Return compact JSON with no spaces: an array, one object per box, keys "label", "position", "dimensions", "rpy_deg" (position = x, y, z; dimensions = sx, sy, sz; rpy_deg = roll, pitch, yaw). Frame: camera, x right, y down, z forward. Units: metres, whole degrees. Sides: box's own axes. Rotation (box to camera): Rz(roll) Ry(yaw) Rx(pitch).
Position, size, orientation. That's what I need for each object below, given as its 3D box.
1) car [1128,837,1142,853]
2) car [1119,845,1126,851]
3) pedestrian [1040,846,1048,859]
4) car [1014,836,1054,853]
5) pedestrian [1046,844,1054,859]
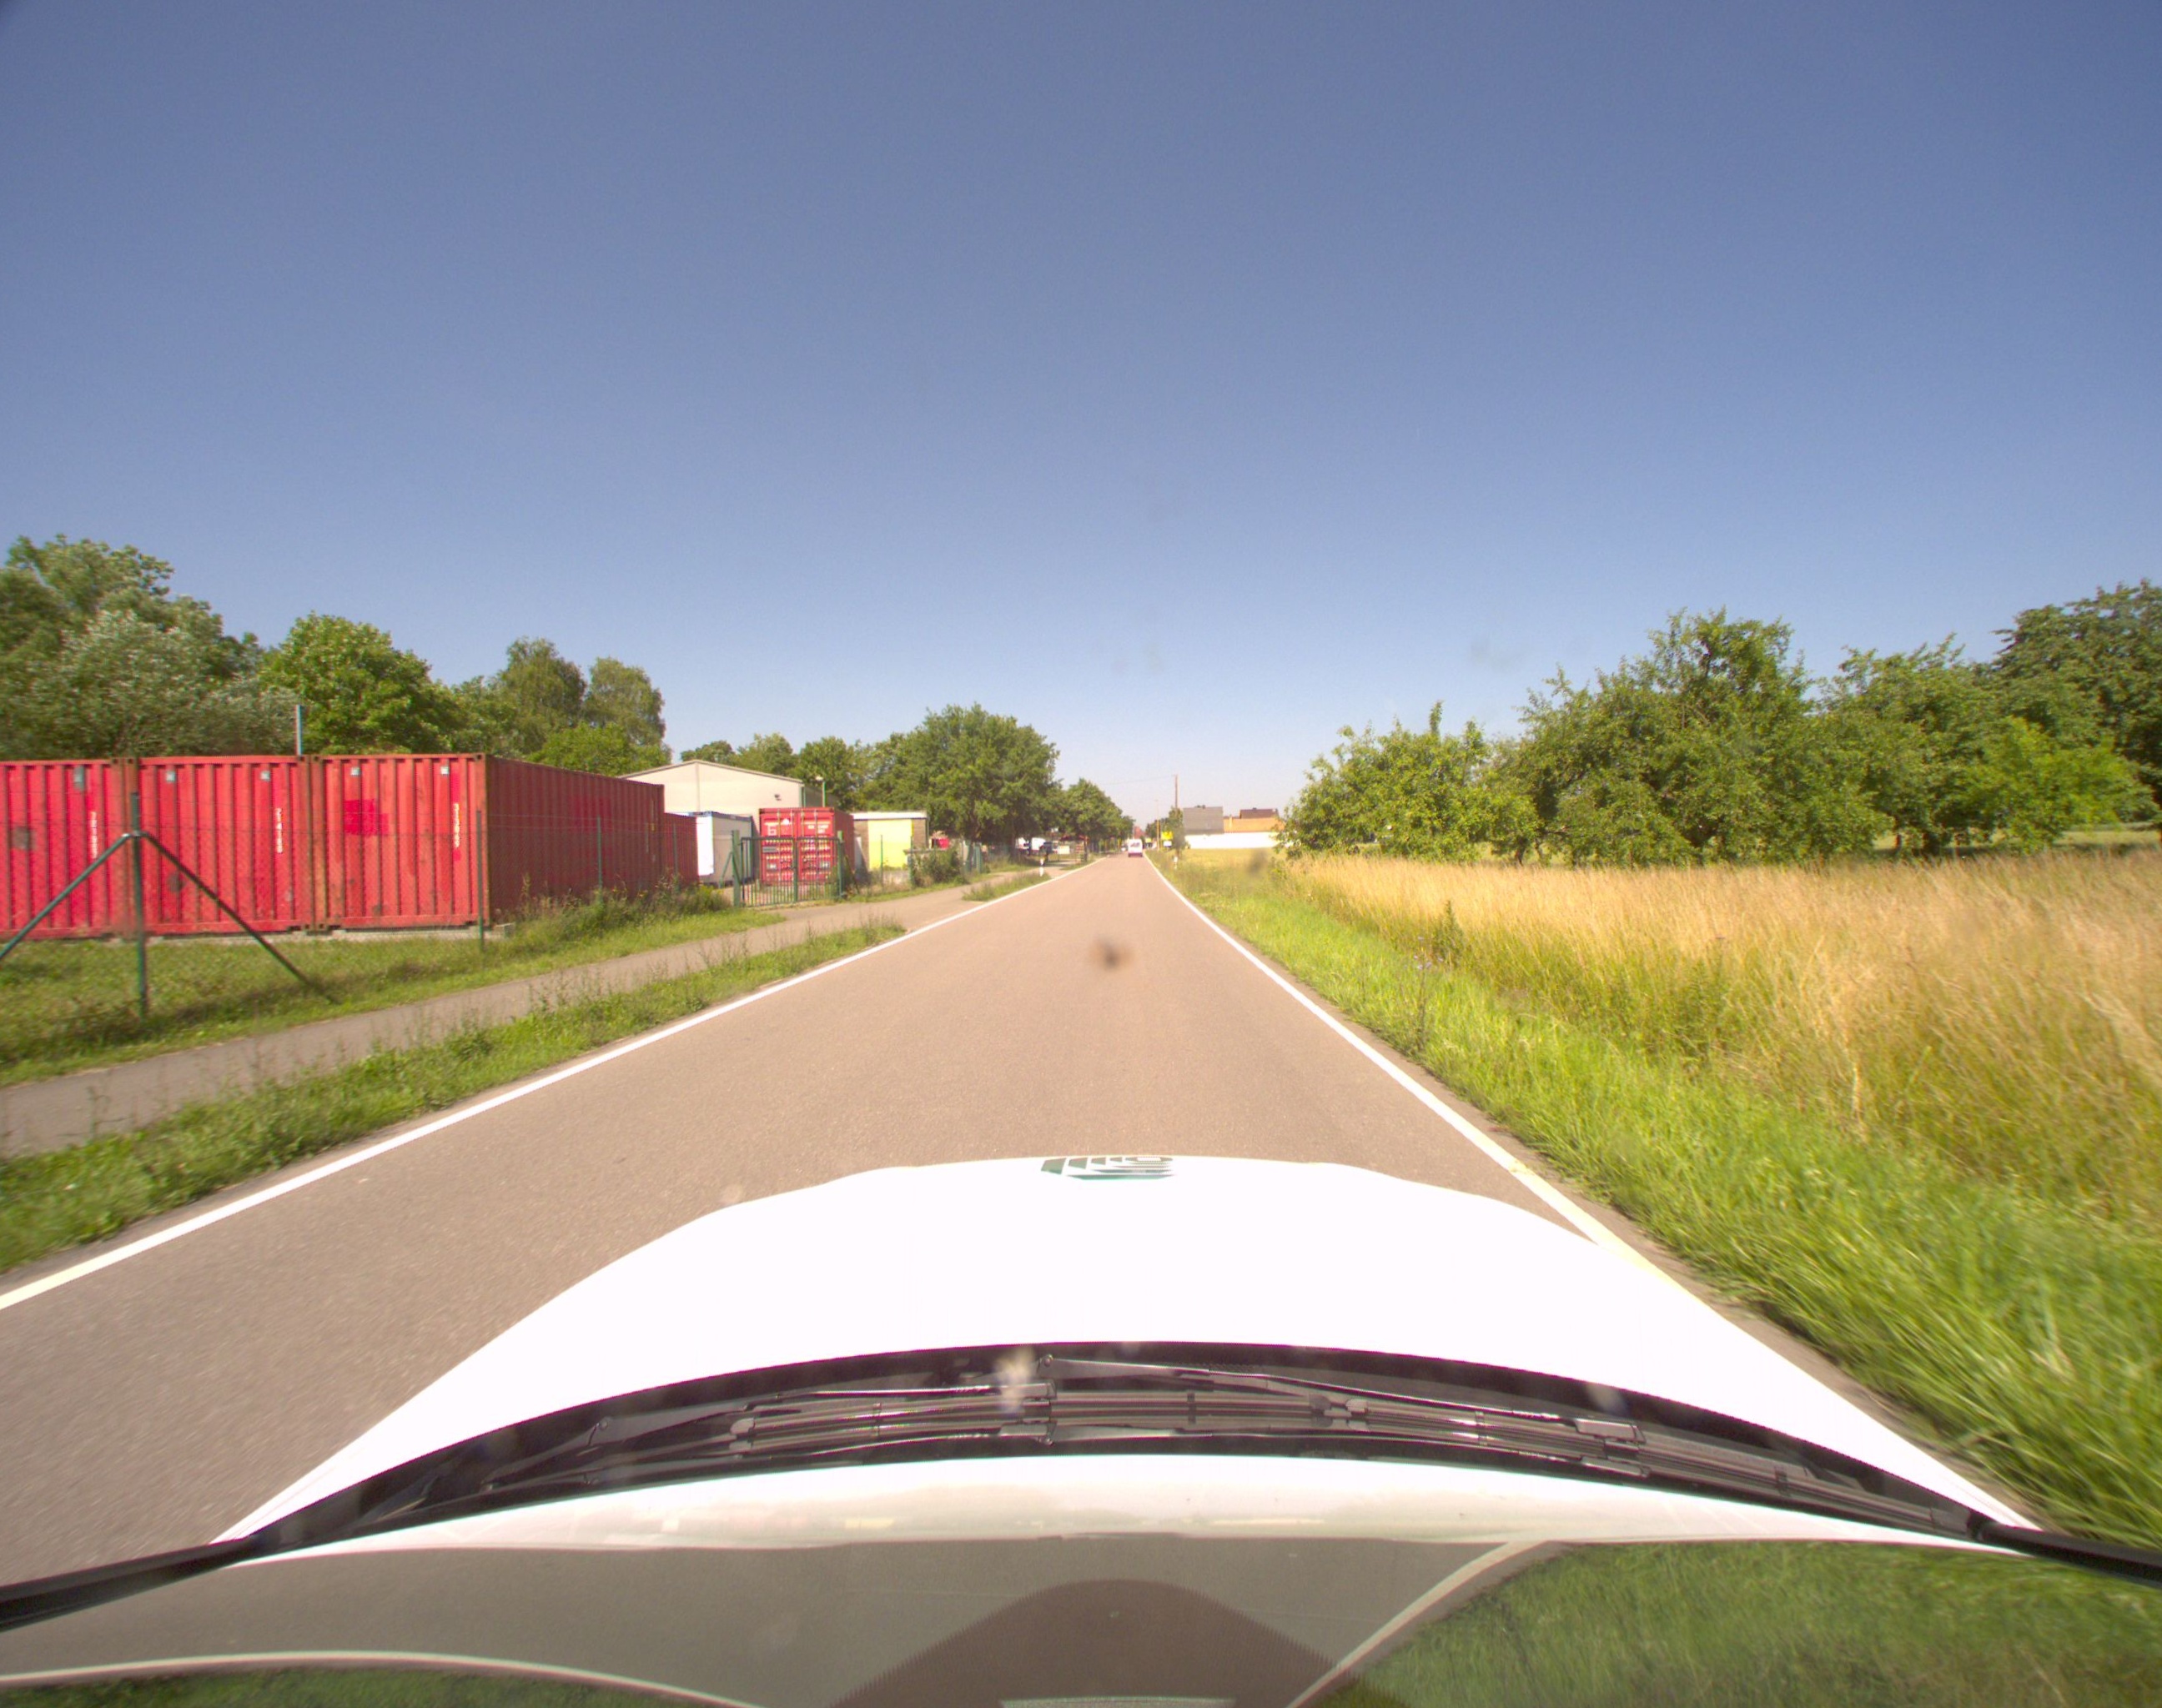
[{"label":"car","position":[7.653,-1.275,115.213],"dimensions":[1.985,2.266,4.731],"rpy_deg":[-2,0,4]},{"label":"car","position":[10.437,-1.549,203.644],"dimensions":[1.763,1.590,4.004],"rpy_deg":[-2,0,4]},{"label":"pedestrian","position":[-4.435,-0.158,98.680],"dimensions":[0.670,1.566,0.723],"rpy_deg":[-2,0,27]},{"label":"car","position":[-6.890,-1.433,119.180],"dimensions":[5.637,2.266,1.978],"rpy_deg":[-2,0,-35]},{"label":"pedestrian","position":[-3.779,-0.299,99.213],"dimensions":[0.713,1.803,0.714],"rpy_deg":[-2,0,27]}]
